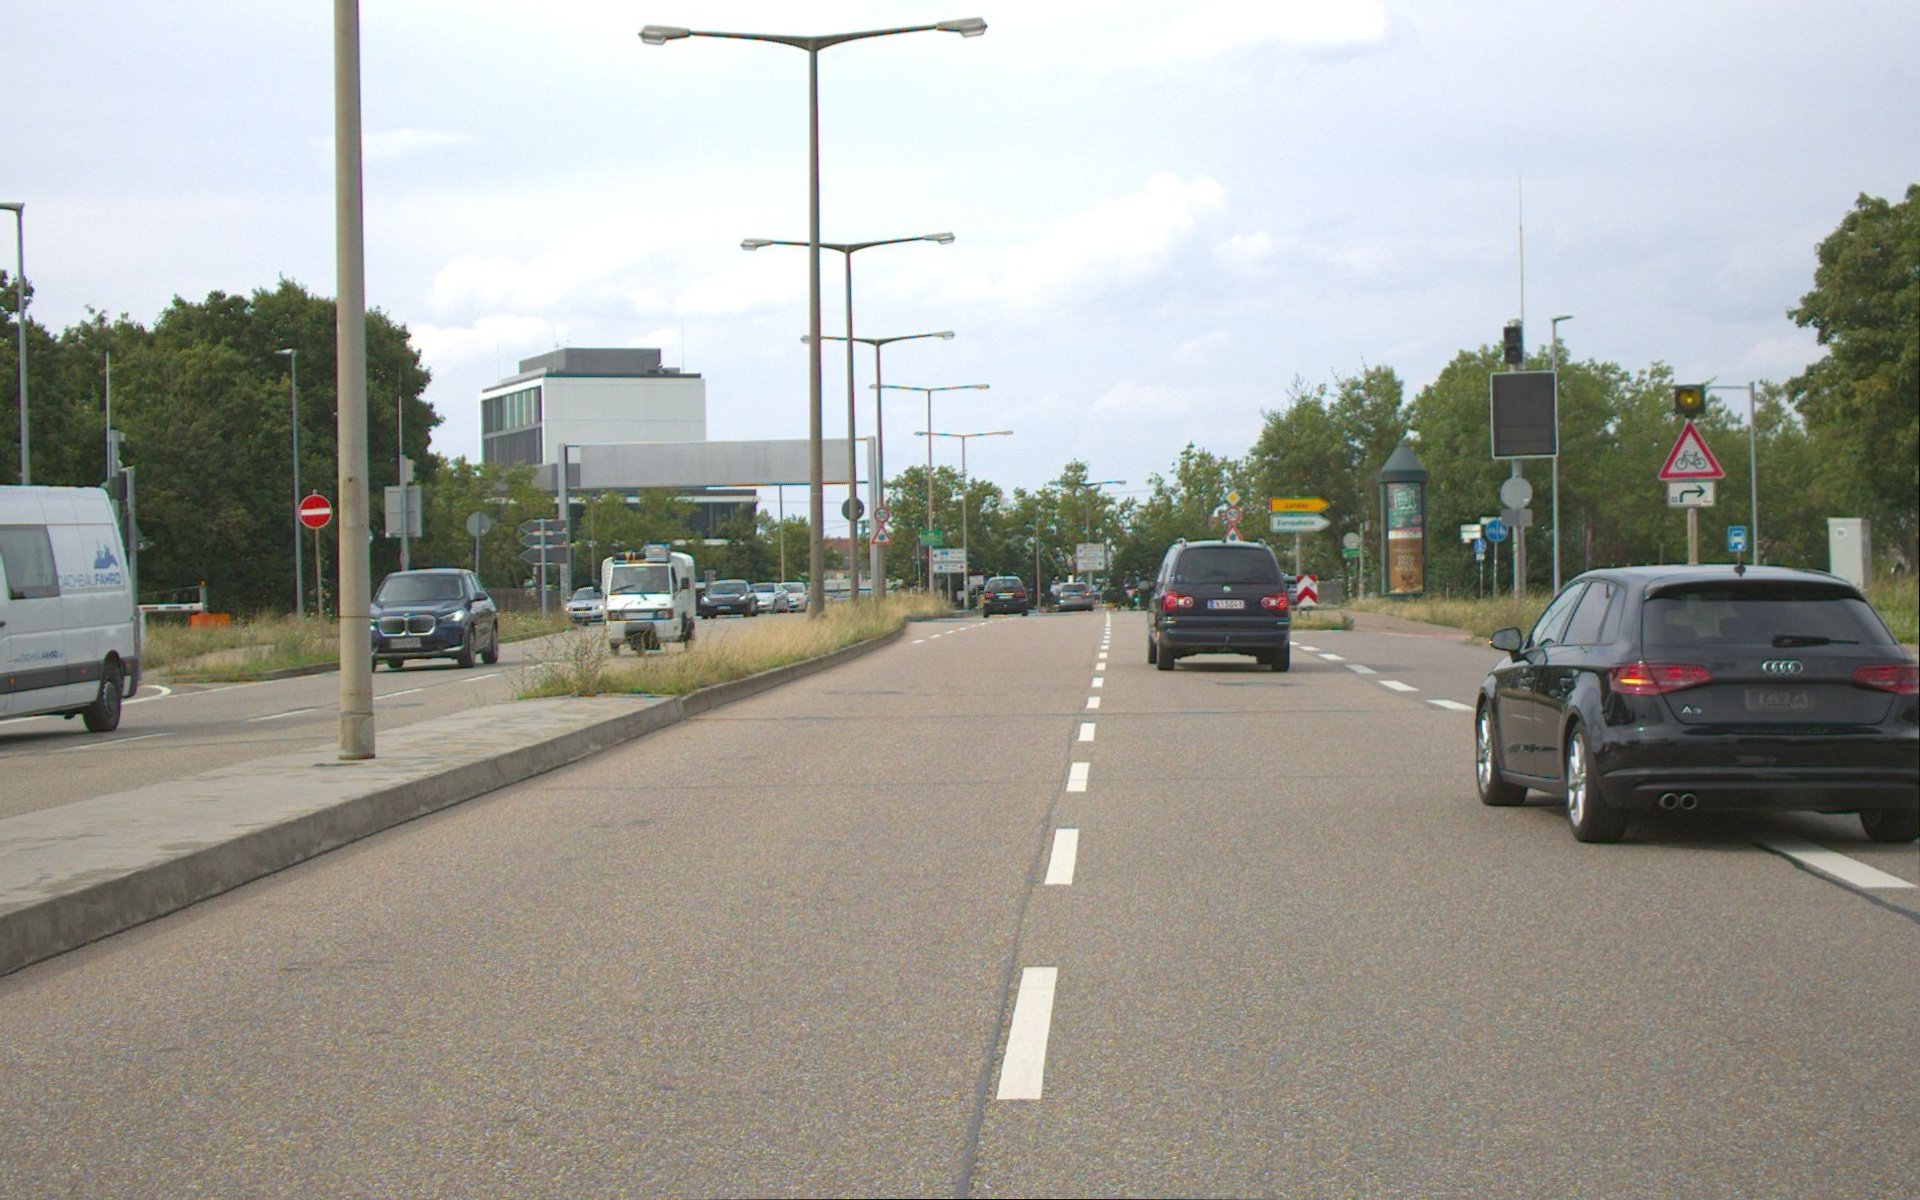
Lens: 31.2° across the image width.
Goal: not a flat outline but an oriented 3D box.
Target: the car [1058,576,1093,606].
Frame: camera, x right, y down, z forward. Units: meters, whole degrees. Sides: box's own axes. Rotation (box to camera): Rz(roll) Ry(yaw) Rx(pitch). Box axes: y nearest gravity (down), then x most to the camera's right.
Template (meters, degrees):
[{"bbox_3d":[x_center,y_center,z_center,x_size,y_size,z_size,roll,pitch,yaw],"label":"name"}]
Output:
[{"bbox_3d":[5.917,-0.455,176.289,1.730,1.521,4.115,0,0,2],"label":"car"}]

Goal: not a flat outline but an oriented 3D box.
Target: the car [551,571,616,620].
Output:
[{"bbox_3d":[-13.877,-0.174,126.947,1.993,1.744,4.000,0,1,0],"label":"car"}]

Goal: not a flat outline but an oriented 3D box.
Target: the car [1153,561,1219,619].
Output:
[{"bbox_3d":[6.512,-0.290,99.277,1.730,1.647,4.115,0,0,1],"label":"car"}]

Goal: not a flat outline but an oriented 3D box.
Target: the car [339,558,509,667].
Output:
[{"bbox_3d":[-8.694,0.174,56.124,1.747,1.580,4.586,-3,1,4],"label":"car"}]

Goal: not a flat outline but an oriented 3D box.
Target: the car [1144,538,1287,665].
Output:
[{"bbox_3d":[3.416,0.002,46.494,1.730,1.647,4.115,0,0,1],"label":"car"}]

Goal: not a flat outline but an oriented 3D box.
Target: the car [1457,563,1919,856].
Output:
[{"bbox_3d":[3.861,0.506,18.505,1.730,1.390,4.115,-1,0,-1],"label":"car"}]

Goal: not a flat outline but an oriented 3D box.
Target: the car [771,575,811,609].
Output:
[{"bbox_3d":[-8.329,-0.390,169.704,1.745,1.593,4.565,-2,1,0],"label":"car"}]

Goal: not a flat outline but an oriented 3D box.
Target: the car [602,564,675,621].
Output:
[{"bbox_3d":[-9.478,-0.237,101.610,1.651,1.569,4.338,-3,1,1],"label":"car"}]

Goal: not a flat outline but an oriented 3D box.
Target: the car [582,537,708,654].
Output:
[{"bbox_3d":[-5.377,-0.106,59.030,1.540,1.864,3.570,-3,1,4],"label":"car"}]

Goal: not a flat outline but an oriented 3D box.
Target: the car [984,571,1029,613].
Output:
[{"bbox_3d":[1.867,-0.316,137.006,1.730,1.647,4.115,0,0,1],"label":"car"}]

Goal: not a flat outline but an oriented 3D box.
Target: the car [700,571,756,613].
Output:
[{"bbox_3d":[-8.875,-0.319,131.583,1.745,1.470,4.565,-2,1,1],"label":"car"}]

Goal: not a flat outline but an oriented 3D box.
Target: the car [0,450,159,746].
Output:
[{"bbox_3d":[-9.503,-0.010,31.989,2.053,2.634,6.399,-3,1,4],"label":"car"}]
